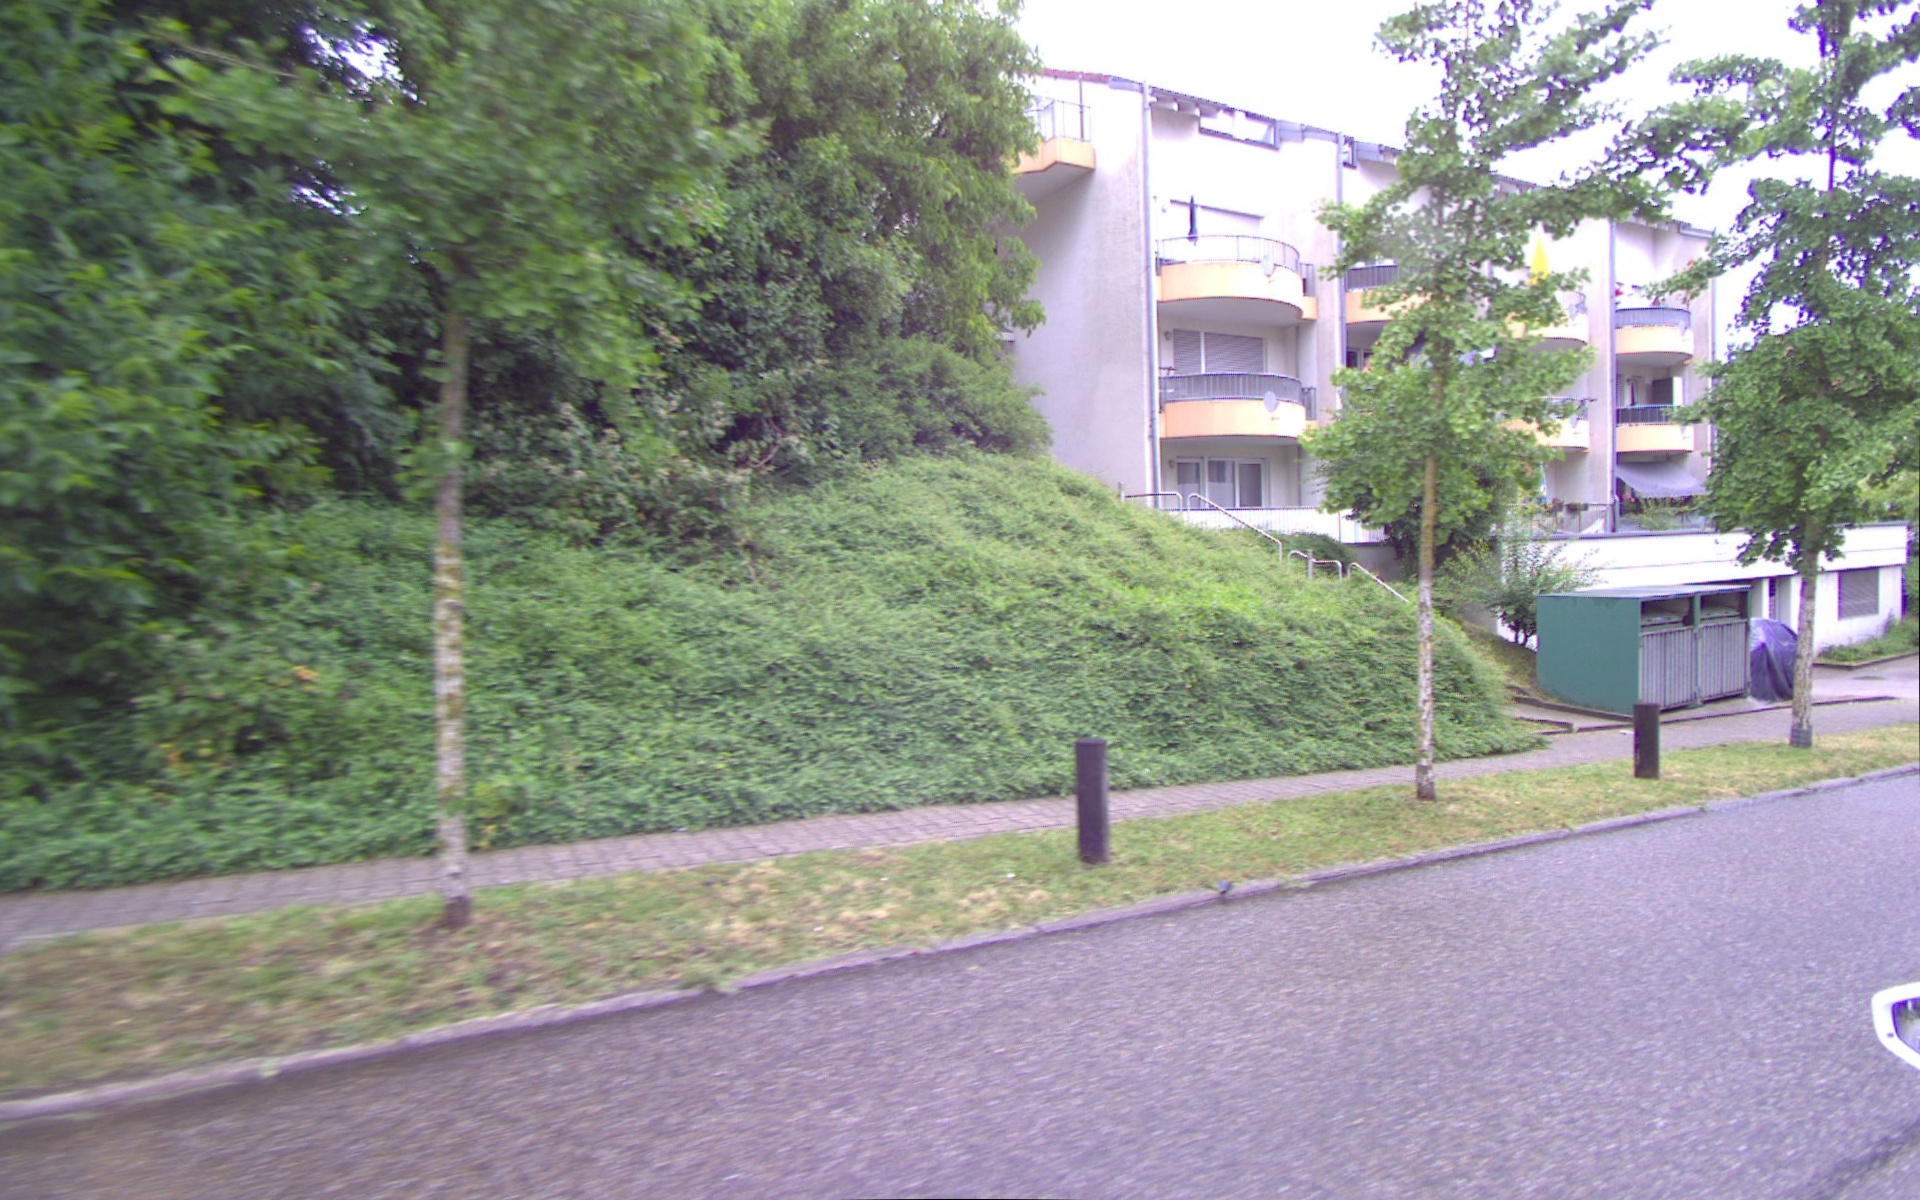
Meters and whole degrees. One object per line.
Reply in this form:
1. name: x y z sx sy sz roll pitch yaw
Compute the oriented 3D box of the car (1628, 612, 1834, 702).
1. car: 14.131 0.995 18.367 3.841 1.475 1.732 0 -3 -32
